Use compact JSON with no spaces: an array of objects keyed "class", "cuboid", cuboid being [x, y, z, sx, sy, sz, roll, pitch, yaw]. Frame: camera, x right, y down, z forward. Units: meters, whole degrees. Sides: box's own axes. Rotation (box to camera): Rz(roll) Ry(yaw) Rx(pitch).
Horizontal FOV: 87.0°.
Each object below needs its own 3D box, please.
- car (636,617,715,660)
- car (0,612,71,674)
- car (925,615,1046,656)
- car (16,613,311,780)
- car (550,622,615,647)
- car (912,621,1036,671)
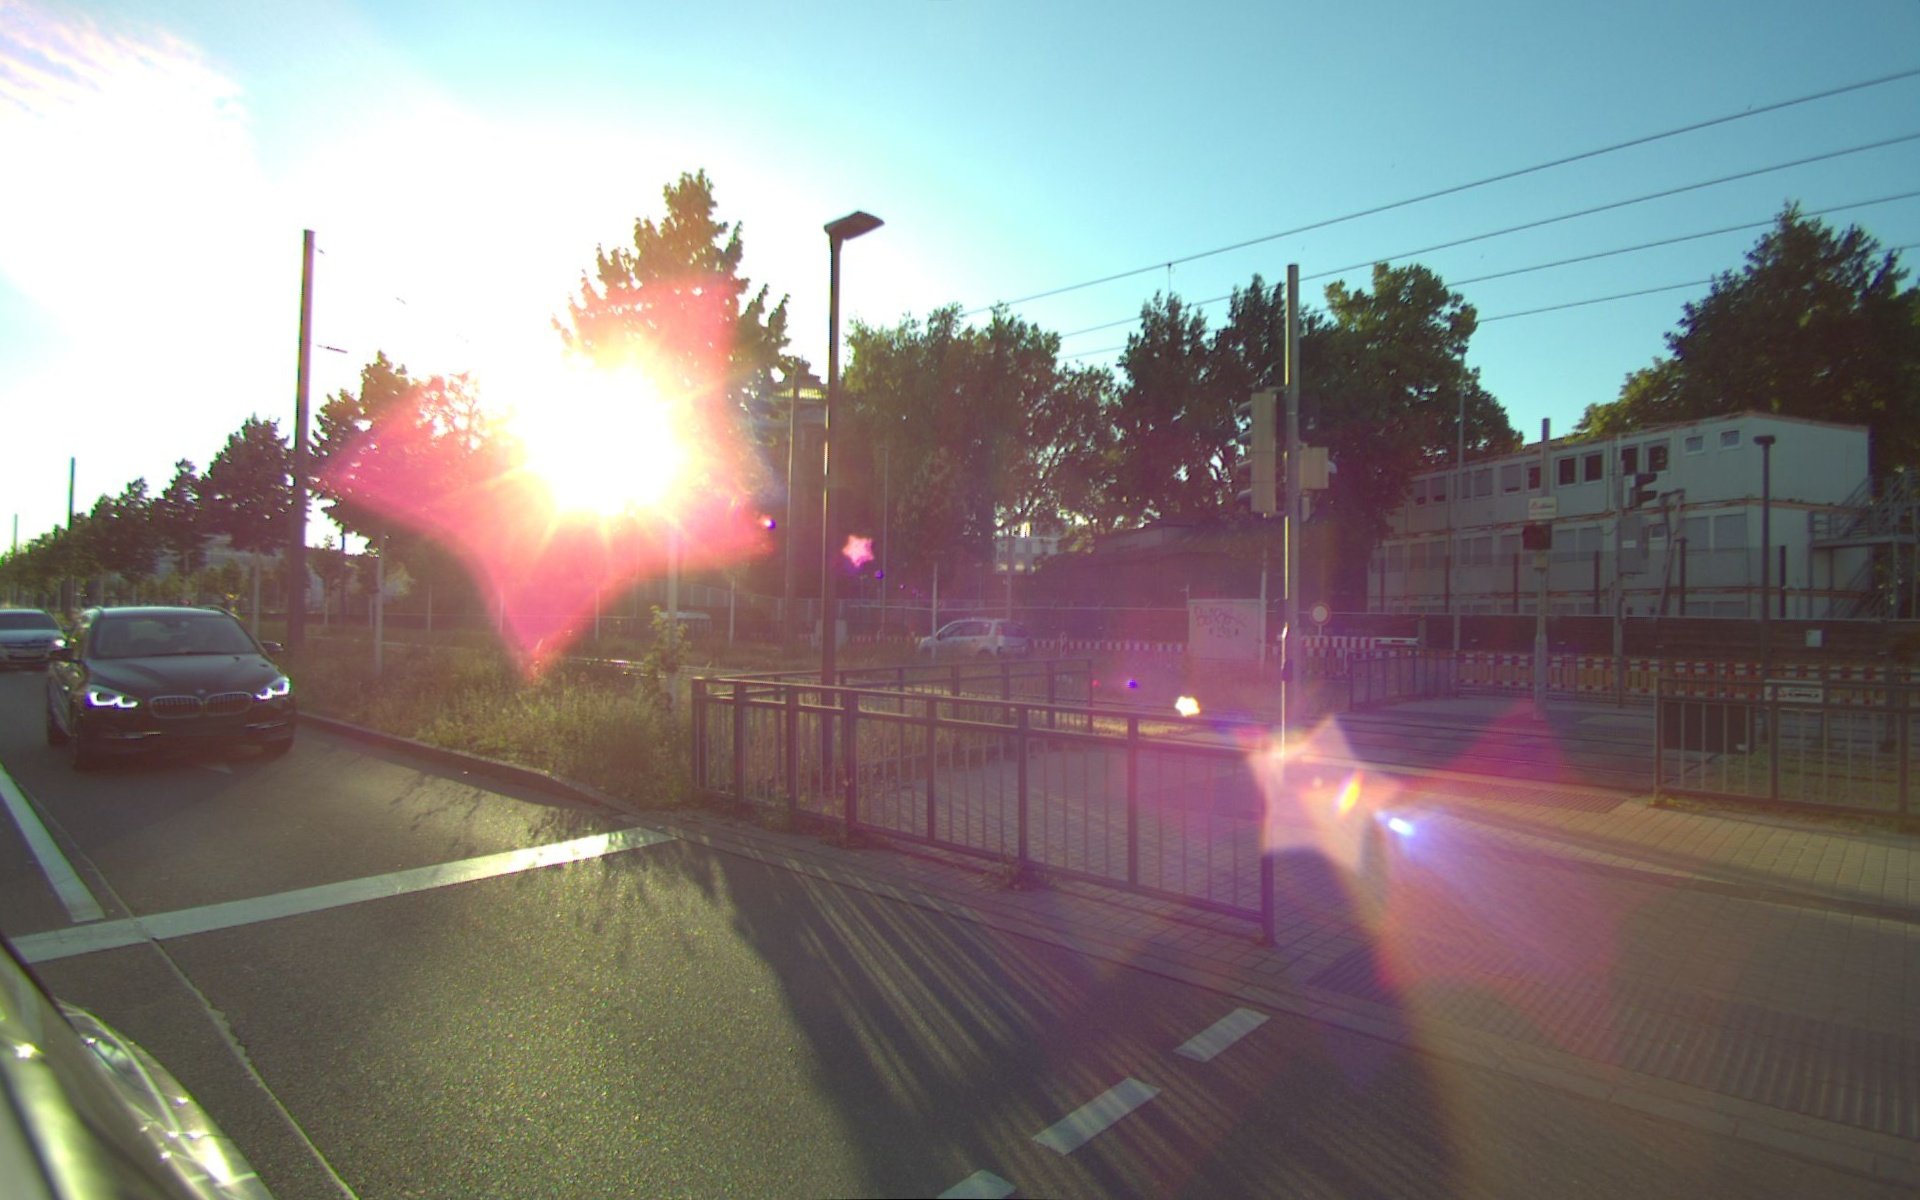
[{"class":"car","cuboid":[-15.361,2.076,54.477,4.752,2.184,1.971,-2,-2,45]},{"class":"car","cuboid":[-23.922,1.072,25.515,4.843,1.444,1.834,-2,-2,43]},{"class":"car","cuboid":[0.927,1.370,39.033,4.523,1.492,1.971,-2,-2,44]},{"class":"car","cuboid":[-8.932,0.925,11.170,4.842,1.444,1.834,-2,-2,43]},{"class":"car","cuboid":[-23.296,2.128,62.358,4.522,1.492,1.971,-2,-2,43]},{"class":"car","cuboid":[0.409,1.415,32.296,3.783,1.492,1.780,-1,-2,43]}]
